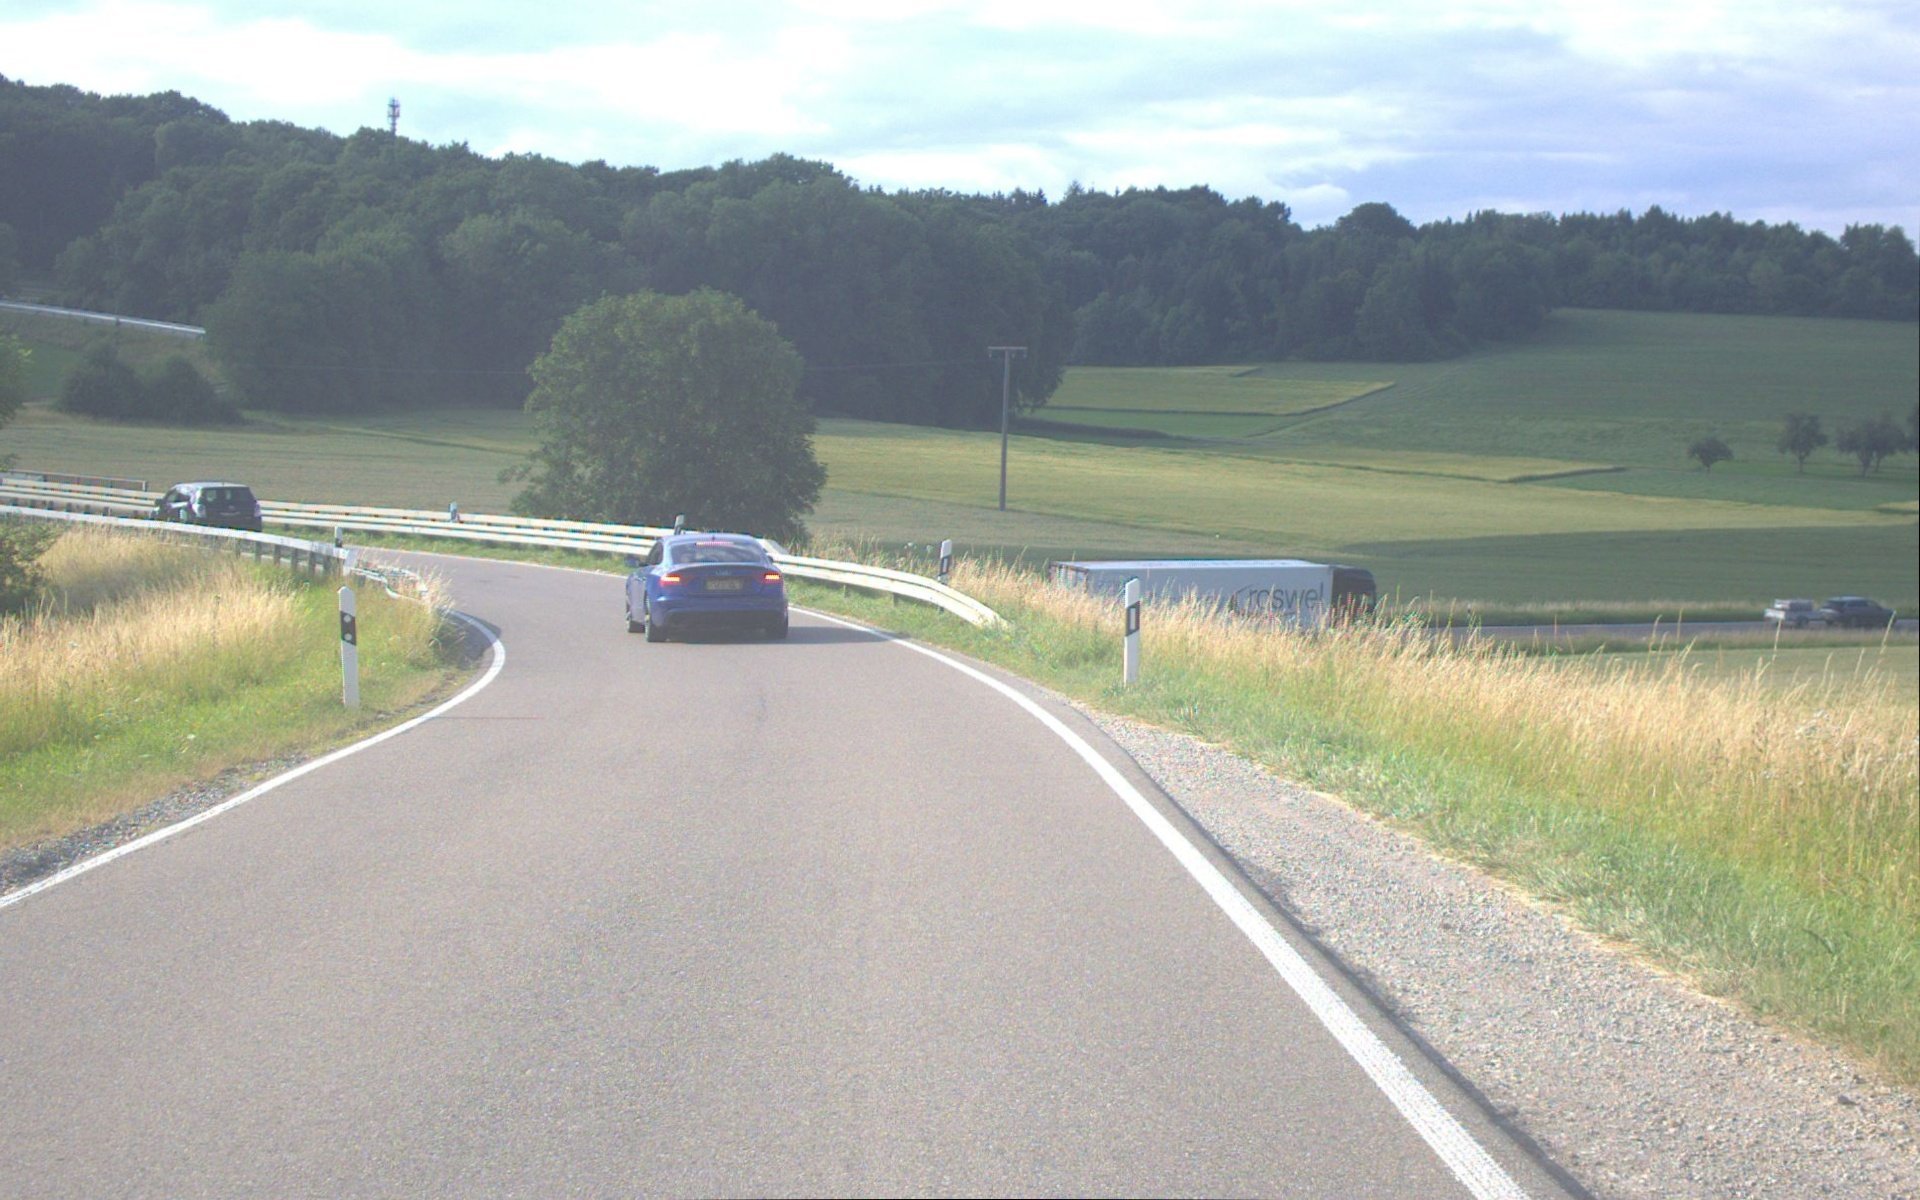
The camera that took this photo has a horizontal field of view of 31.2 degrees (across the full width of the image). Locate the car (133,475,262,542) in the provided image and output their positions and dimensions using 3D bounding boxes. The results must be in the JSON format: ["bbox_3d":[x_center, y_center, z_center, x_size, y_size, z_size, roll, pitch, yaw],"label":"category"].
[{"bbox_3d":[-18.767,-2.262,84.489,1.862,1.563,4.000,-1,3,-32],"label":"car"}]

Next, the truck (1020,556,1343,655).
[{"bbox_3d":[9.612,0.177,147.235,14.379,3.983,4.079,-1,0,-35],"label":"truck"}]

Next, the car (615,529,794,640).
[{"bbox_3d":[-3.438,-0.238,45.581,1.818,1.334,4.351,-1,2,-11],"label":"car"}]
